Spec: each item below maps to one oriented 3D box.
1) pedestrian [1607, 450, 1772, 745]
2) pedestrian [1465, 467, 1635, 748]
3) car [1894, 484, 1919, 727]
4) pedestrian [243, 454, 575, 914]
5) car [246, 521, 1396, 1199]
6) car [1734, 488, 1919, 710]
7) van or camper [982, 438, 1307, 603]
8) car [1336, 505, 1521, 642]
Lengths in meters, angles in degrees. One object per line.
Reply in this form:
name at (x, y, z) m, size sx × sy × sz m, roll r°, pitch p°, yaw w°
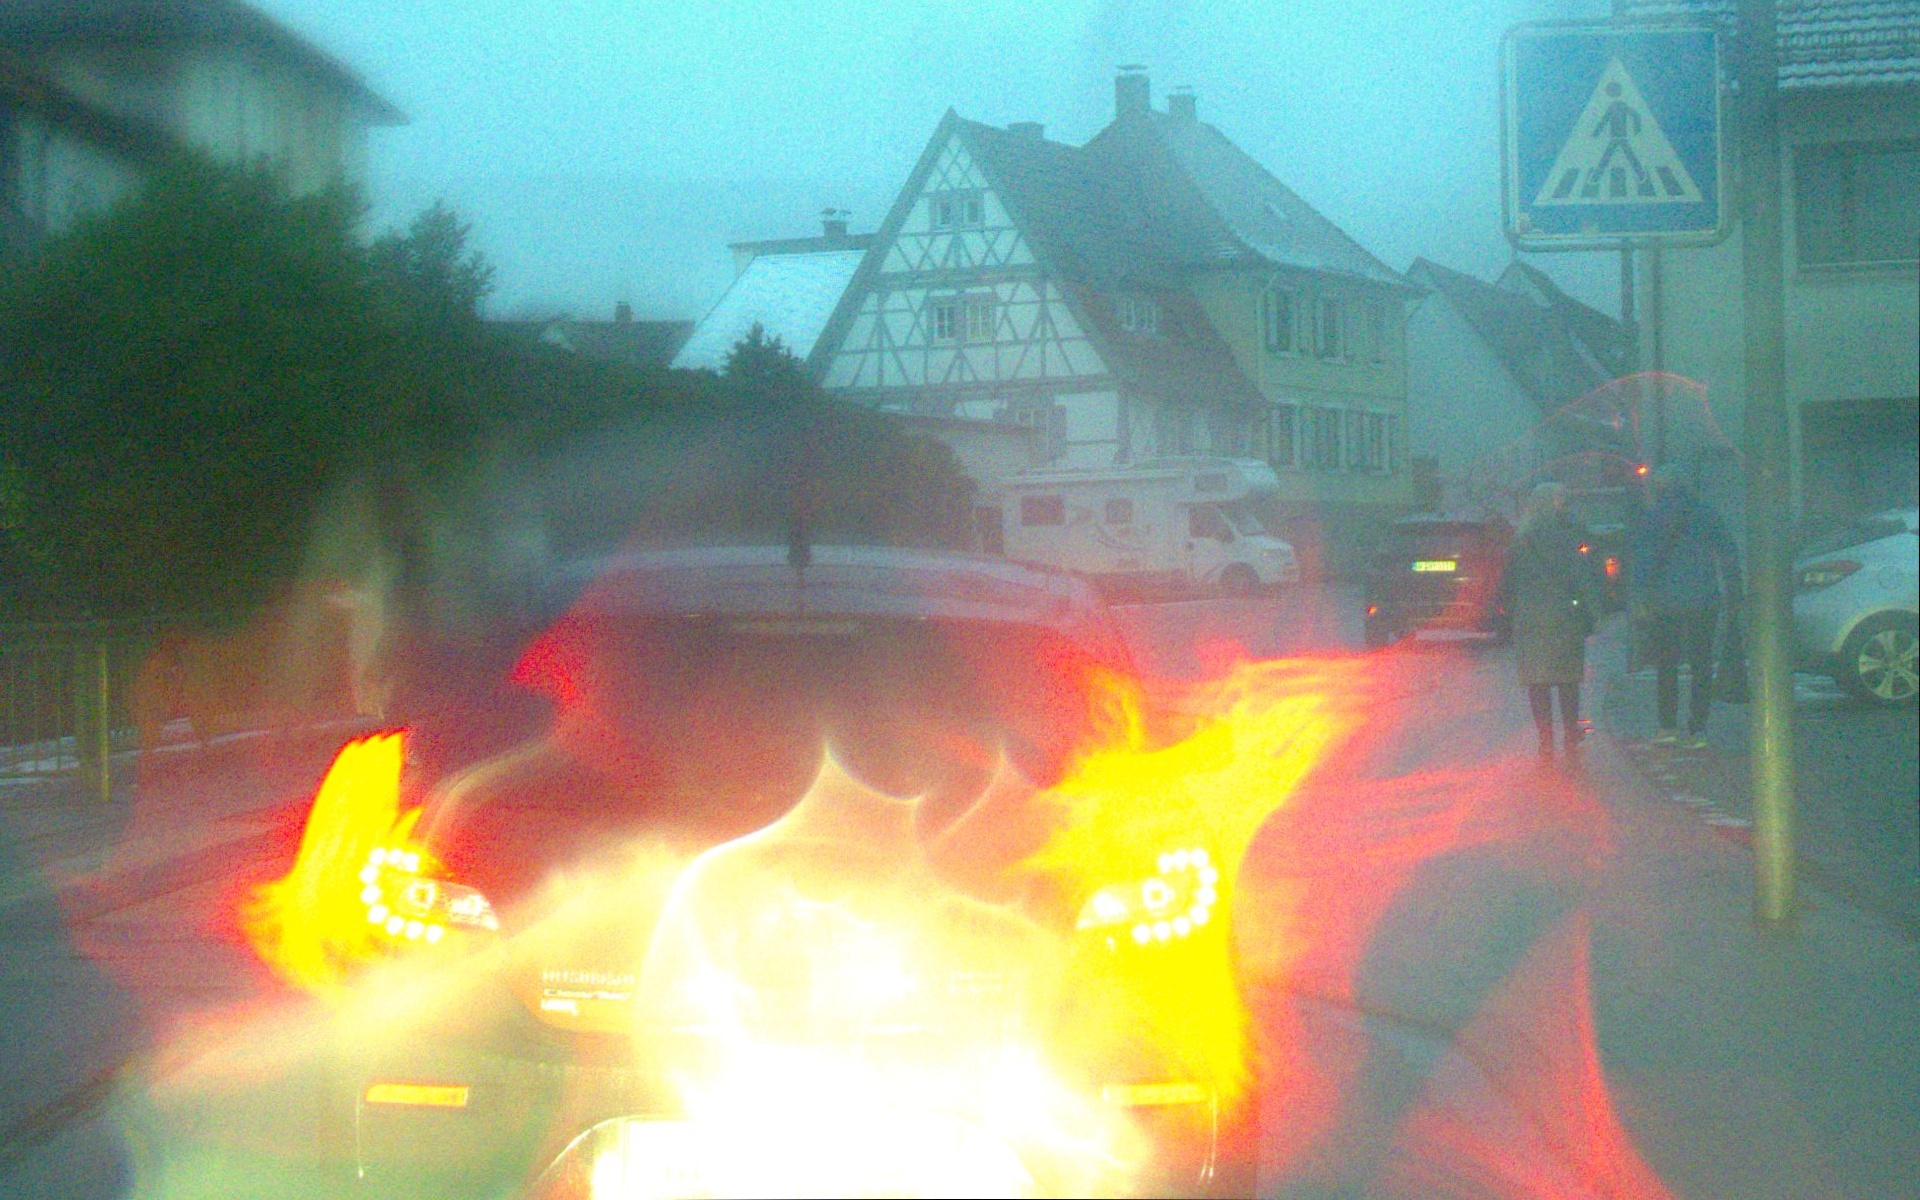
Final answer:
pedestrian at (4.499, -0.024, 21.161) m, size 0.849 × 1.727 × 0.971 m, roll -4°, pitch 1°, yaw 15°
pedestrian at (3.677, 0.035, 21.371) m, size 0.867 × 1.661 × 0.991 m, roll -4°, pitch 1°, yaw 14°
car at (7.317, -0.030, 20.714) m, size 3.065 × 1.469 × 1.549 m, roll -2°, pitch 1°, yaw 10°
pedestrian at (-2.182, 0.317, 13.713) m, size 0.880 × 1.729 × 0.955 m, roll -4°, pitch 1°, yaw 15°
car at (-0.365, 0.575, 7.378) m, size 1.795 × 1.471 × 4.001 m, roll 0°, pitch 1°, yaw -5°
car at (7.477, -0.078, 24.002) m, size 3.901 × 1.469 × 1.750 m, roll -2°, pitch 1°, yaw 10°
van or camper at (3.801, -1.616, 70.779) m, size 6.067 × 2.945 × 2.404 m, roll -4°, pitch 0°, yaw 22°
car at (5.934, -0.368, 43.194) m, size 1.849 × 1.631 × 4.333 m, roll 0°, pitch 1°, yaw 14°
